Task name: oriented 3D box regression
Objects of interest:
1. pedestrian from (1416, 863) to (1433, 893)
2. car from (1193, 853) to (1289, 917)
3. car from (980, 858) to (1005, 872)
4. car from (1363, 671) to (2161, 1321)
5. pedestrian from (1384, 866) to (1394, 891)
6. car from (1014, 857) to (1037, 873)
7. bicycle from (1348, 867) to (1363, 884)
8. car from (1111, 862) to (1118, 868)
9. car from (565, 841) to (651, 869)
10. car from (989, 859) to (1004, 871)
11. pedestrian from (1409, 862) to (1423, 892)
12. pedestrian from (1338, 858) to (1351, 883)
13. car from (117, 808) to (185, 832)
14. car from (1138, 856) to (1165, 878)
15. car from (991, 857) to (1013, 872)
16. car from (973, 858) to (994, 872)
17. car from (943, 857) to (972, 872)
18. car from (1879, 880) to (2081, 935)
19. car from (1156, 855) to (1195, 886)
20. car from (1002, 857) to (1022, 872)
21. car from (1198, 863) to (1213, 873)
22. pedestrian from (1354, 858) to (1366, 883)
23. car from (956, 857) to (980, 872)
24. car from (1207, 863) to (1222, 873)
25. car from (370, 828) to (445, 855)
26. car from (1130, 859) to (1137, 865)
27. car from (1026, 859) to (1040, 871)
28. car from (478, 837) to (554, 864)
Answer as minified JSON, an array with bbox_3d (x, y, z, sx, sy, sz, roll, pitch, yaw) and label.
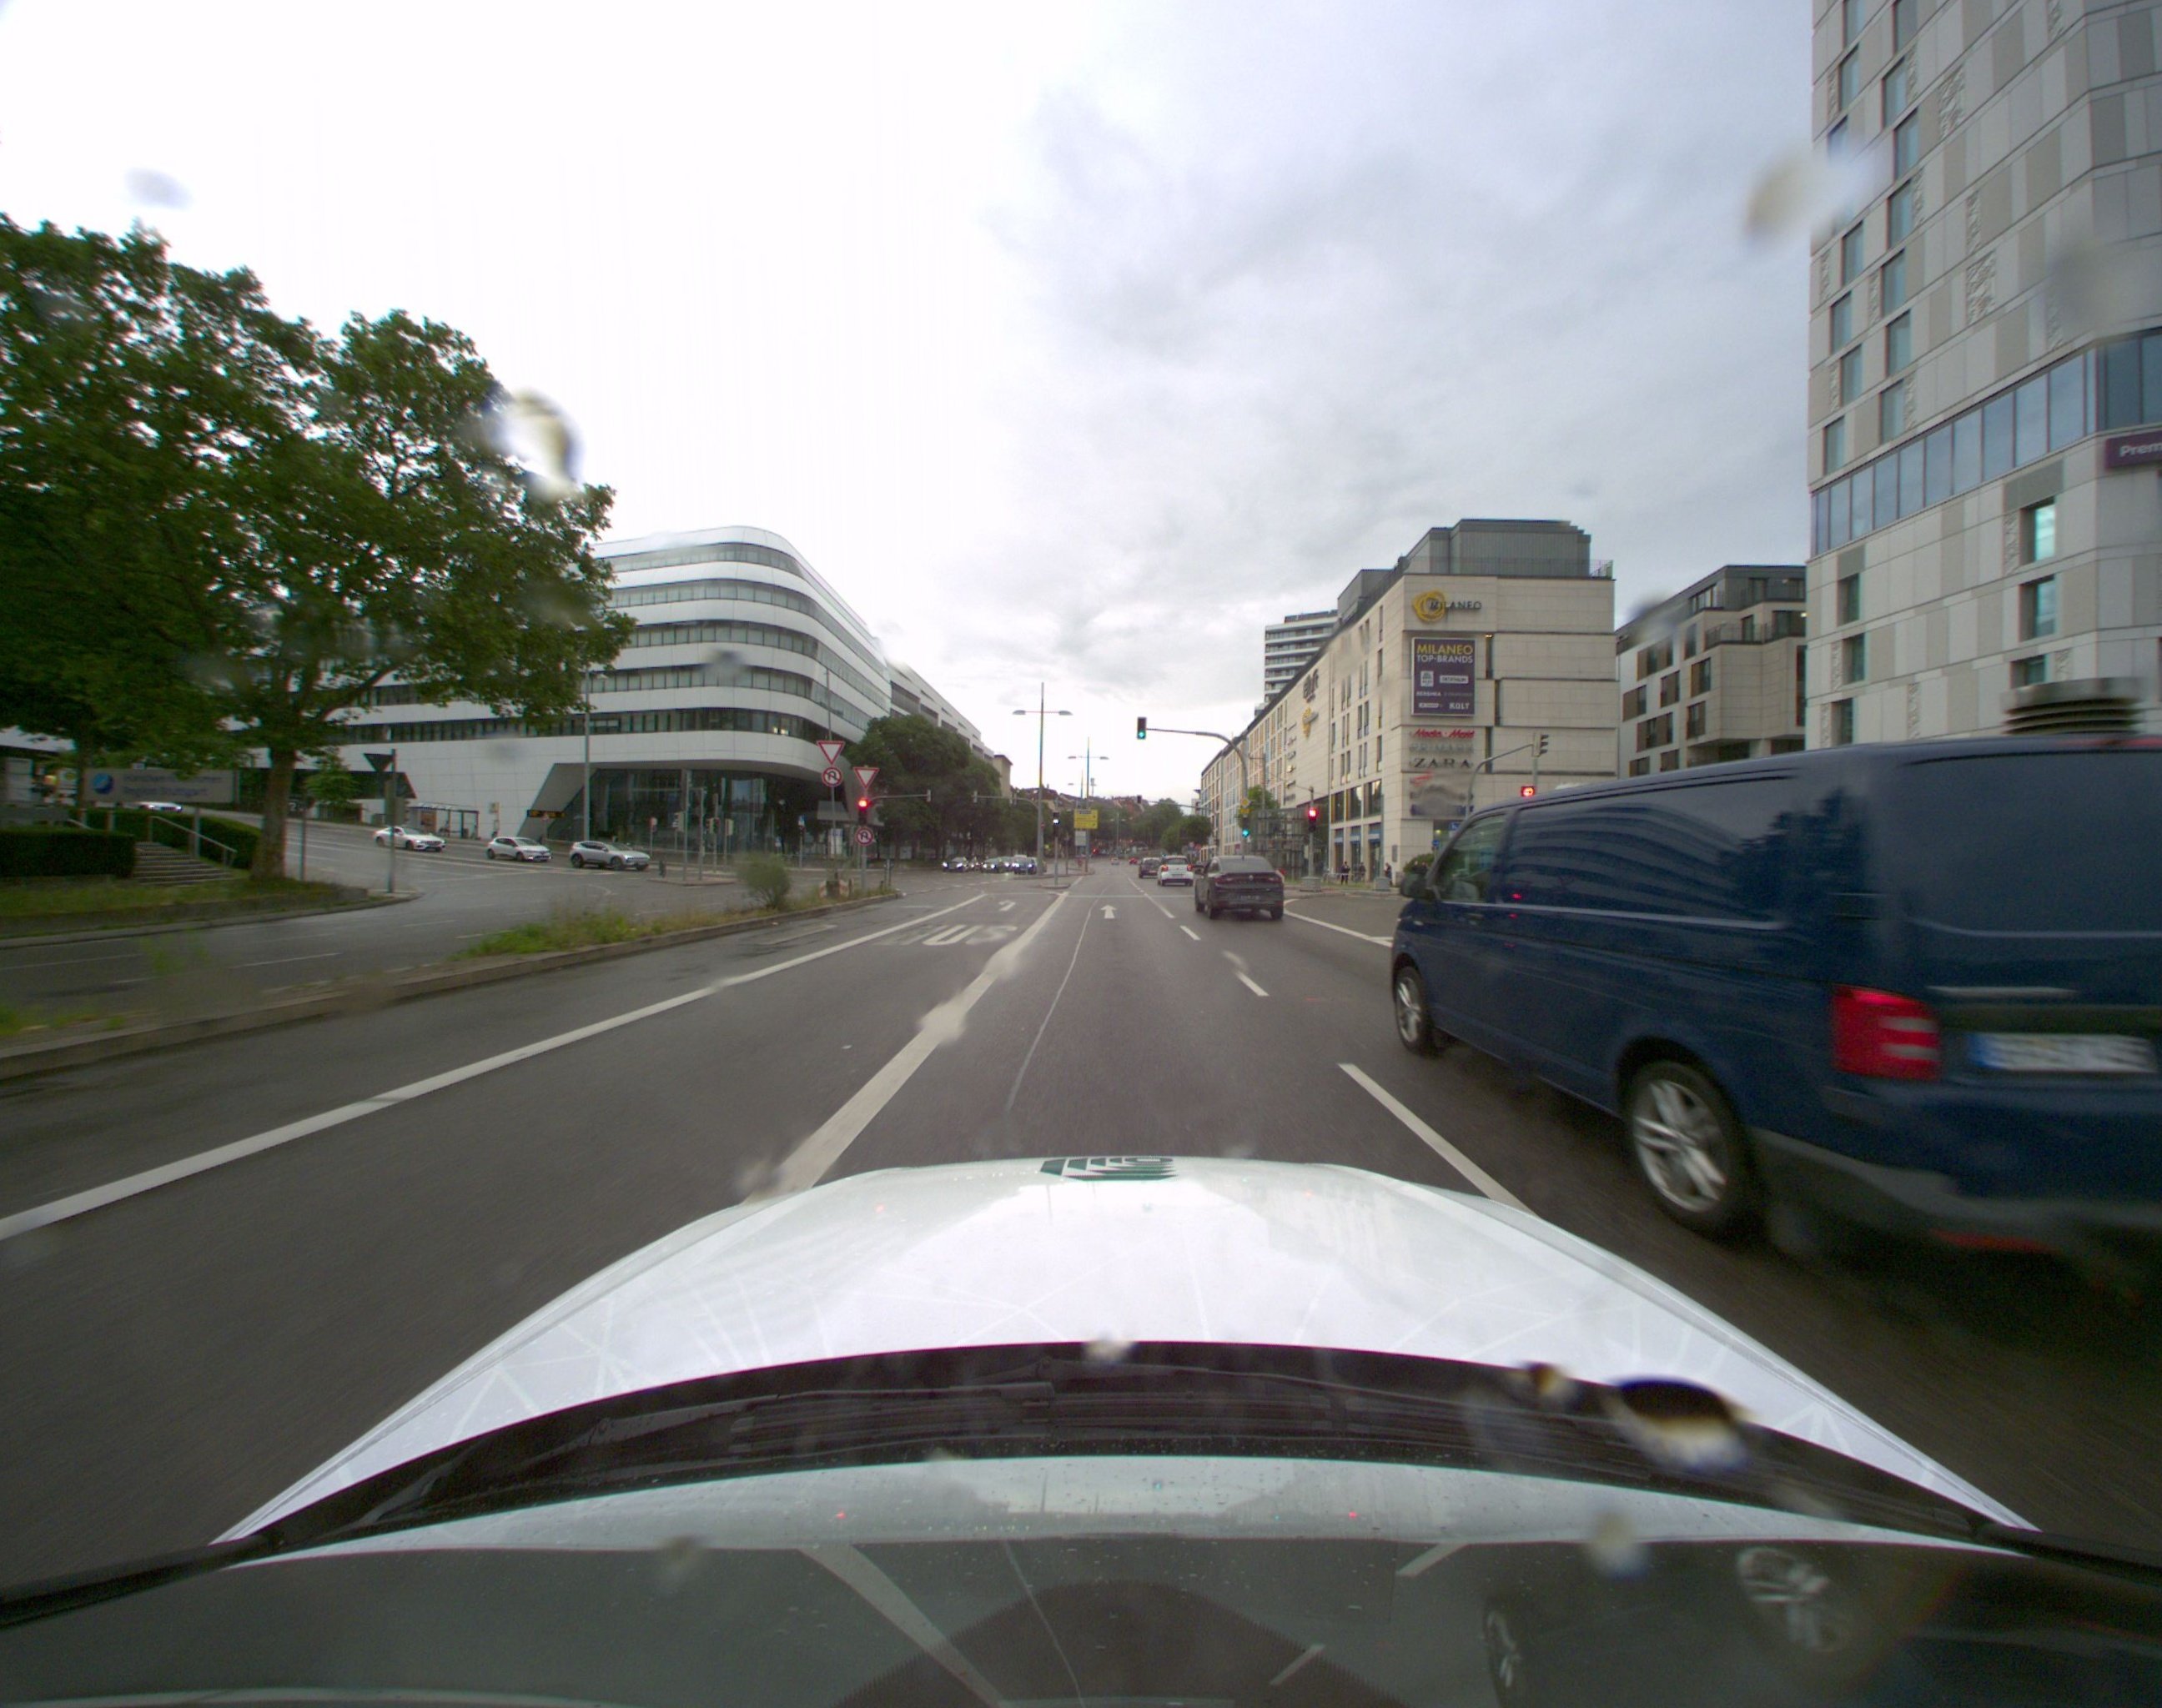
[{"bbox_3d":[19.413,1.376,46.043,0.619,1.672,0.824,0,-2,2],"label":"pedestrian"},{"bbox_3d":[4.037,0.727,21.209,1.784,1.507,4.341,0,0,2],"label":"car"},{"bbox_3d":[-8.178,1.010,75.352,1.736,1.257,3.541,1,0,2],"label":"car"},{"bbox_3d":[3.460,0.395,4.868,2.025,1.882,5.045,0,0,3],"label":"car"},{"bbox_3d":[20.759,1.653,54.864,0.588,1.642,0.591,-1,-2,27],"label":"pedestrian"},{"bbox_3d":[-5.011,1.026,73.981,1.736,1.444,3.396,0,-1,2],"label":"car"},{"bbox_3d":[17.648,1.380,52.460,0.447,1.016,1.743,0,-1,3],"label":"bicycle"},{"bbox_3d":[8.252,2.757,200.473,1.733,1.531,3.816,0,0,2],"label":"car"},{"bbox_3d":[-27.997,0.083,48.227,4.465,1.631,1.903,-1,-1,18],"label":"car"},{"bbox_3d":[-12.641,1.654,121.912,1.736,1.748,3.541,0,-1,2],"label":"car"},{"bbox_3d":[20.320,1.382,49.414,0.442,1.780,0.589,1,-2,-32],"label":"pedestrian"},{"bbox_3d":[16.875,1.070,52.161,0.610,1.611,0.819,0,-2,2],"label":"pedestrian"},{"bbox_3d":[-70.051,-2.534,61.325,3.955,1.631,1.903,2,-1,18],"label":"car"},{"bbox_3d":[5.101,0.955,59.290,1.733,1.531,3.816,0,-1,2],"label":"car"},{"bbox_3d":[-7.953,1.069,82.429,1.736,1.559,3.541,0,-1,2],"label":"car"},{"bbox_3d":[-10.492,1.204,87.976,1.736,1.559,3.541,0,-1,2],"label":"car"},{"bbox_3d":[-11.167,0.941,73.870,1.736,1.328,4.227,0,-1,2],"label":"car"},{"bbox_3d":[28.379,1.655,25.903,3.949,1.433,1.754,2,0,30],"label":"car"},{"bbox_3d":[4.885,0.873,42.395,1.717,1.531,3.816,0,-1,2],"label":"car"},{"bbox_3d":[-7.334,1.178,87.173,1.736,1.559,3.541,0,-1,2],"label":"car"},{"bbox_3d":[17.011,1.902,111.524,1.654,1.401,3.834,0,-1,2],"label":"car"},{"bbox_3d":[17.975,1.086,52.416,0.548,1.611,0.698,0,-2,2],"label":"pedestrian"},{"bbox_3d":[-11.378,1.072,82.298,1.736,1.424,3.541,0,-1,2],"label":"car"},{"bbox_3d":[17.379,1.856,105.831,1.500,1.266,3.504,0,-1,2],"label":"car"},{"bbox_3d":[-44.094,-0.812,53.323,3.955,1.631,1.903,1,-1,18],"label":"car"},{"bbox_3d":[13.633,1.999,212.811,1.733,1.531,3.816,0,-1,2],"label":"car"},{"bbox_3d":[-7.260,1.691,123.276,1.736,1.748,3.541,0,-1,2],"label":"car"},{"bbox_3d":[-35.377,-0.188,51.022,3.955,1.631,1.903,-1,-1,18],"label":"car"}]
